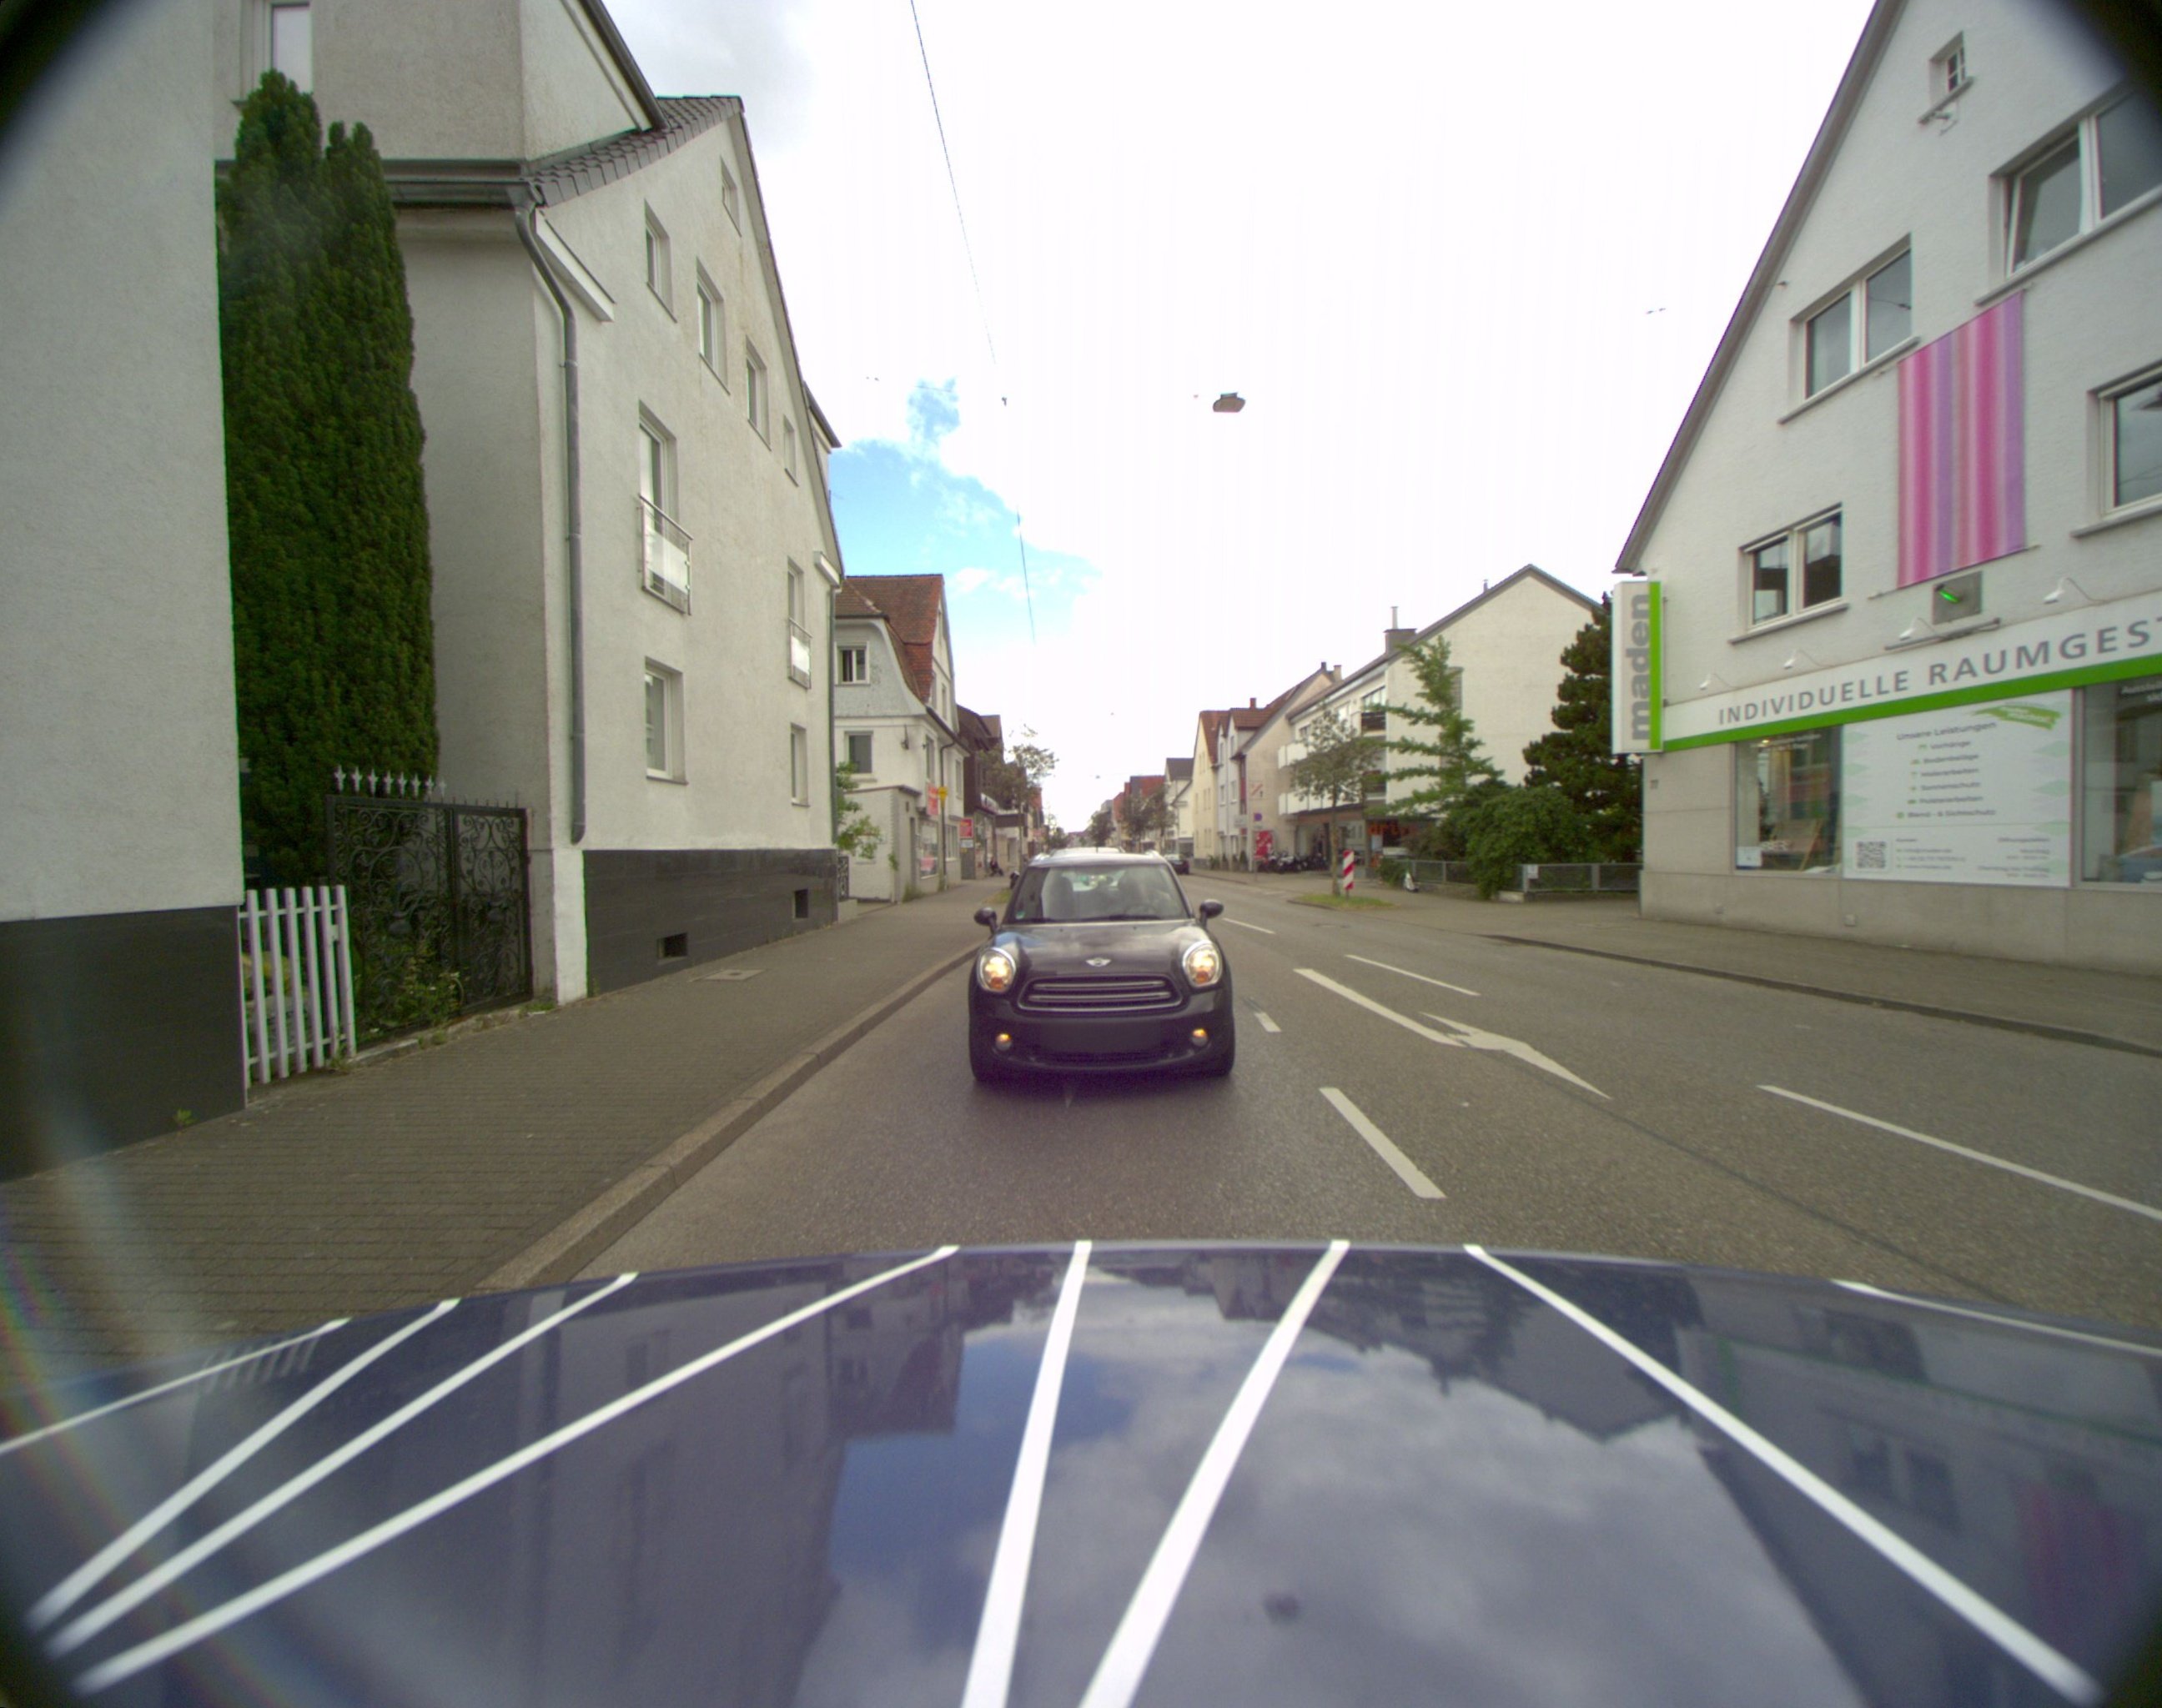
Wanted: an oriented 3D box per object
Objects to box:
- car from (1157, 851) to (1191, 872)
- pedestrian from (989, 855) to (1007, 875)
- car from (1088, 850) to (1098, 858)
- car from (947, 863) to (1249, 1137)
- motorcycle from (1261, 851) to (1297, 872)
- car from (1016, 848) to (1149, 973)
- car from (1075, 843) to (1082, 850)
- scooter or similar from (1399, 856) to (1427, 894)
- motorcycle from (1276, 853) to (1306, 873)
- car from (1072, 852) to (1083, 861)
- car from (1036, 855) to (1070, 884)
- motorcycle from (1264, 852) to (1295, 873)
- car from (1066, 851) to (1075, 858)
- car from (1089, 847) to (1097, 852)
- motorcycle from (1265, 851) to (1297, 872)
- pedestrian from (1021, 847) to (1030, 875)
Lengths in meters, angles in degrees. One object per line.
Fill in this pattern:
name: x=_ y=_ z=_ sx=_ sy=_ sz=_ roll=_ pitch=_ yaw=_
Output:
car: x=6.345 y=0.484 z=52.065 sx=1.634 sy=1.404 sz=3.998 roll=0 pitch=0 yaw=-3
pedestrian: x=-5.247 y=0.682 z=48.069 sx=0.982 sy=1.272 sz=0.667 roll=0 pitch=1 yaw=12
car: x=2.449 y=-0.025 z=152.811 sx=1.846 sy=1.510 sz=3.999 roll=-2 pitch=1 yaw=0
car: x=0.123 y=0.866 z=6.352 sx=1.693 sy=1.506 sz=4.000 roll=-1 pitch=0 yaw=1
motorcycle: x=11.159 y=0.439 z=42.809 sx=1.834 sy=1.099 sz=0.505 roll=-3 pitch=1 yaw=0
car: x=-0.023 y=0.776 z=12.959 sx=1.811 sy=1.556 sz=4.616 roll=-2 pitch=2 yaw=-1
car: x=-0.695 y=-2.072 z=218.482 sx=1.951 sy=2.117 sz=4.321 roll=0 pitch=0 yaw=-3
scooter or similar: x=10.246 y=0.632 z=23.493 sx=0.465 sy=1.117 sz=1.829 roll=-2 pitch=0 yaw=14
motorcycle: x=11.376 y=0.482 z=41.106 sx=1.429 sy=1.017 sz=0.525 roll=-3 pitch=1 yaw=0
car: x=-0.645 y=0.416 z=130.063 sx=1.846 sy=1.510 sz=3.999 roll=-2 pitch=1 yaw=0
car: x=-1.624 y=0.866 z=44.263 sx=1.846 sy=1.510 sz=3.999 roll=-2 pitch=1 yaw=-2
motorcycle: x=10.948 y=0.459 z=41.870 sx=1.515 sy=1.099 sz=0.589 roll=-3 pitch=1 yaw=6
car: x=-2.202 y=0.084 z=159.181 sx=1.846 sy=1.510 sz=3.999 roll=-2 pitch=1 yaw=0
car: x=3.074 y=-1.122 z=194.101 sx=1.634 sy=1.404 sz=3.998 roll=0 pitch=0 yaw=-3
motorcycle: x=11.464 y=0.417 z=43.589 sx=1.678 sy=1.099 sz=0.558 roll=-3 pitch=1 yaw=0
pedestrian: x=-3.535 y=0.452 z=48.395 sx=0.497 sy=1.744 sz=0.451 roll=-1 pitch=1 yaw=1
